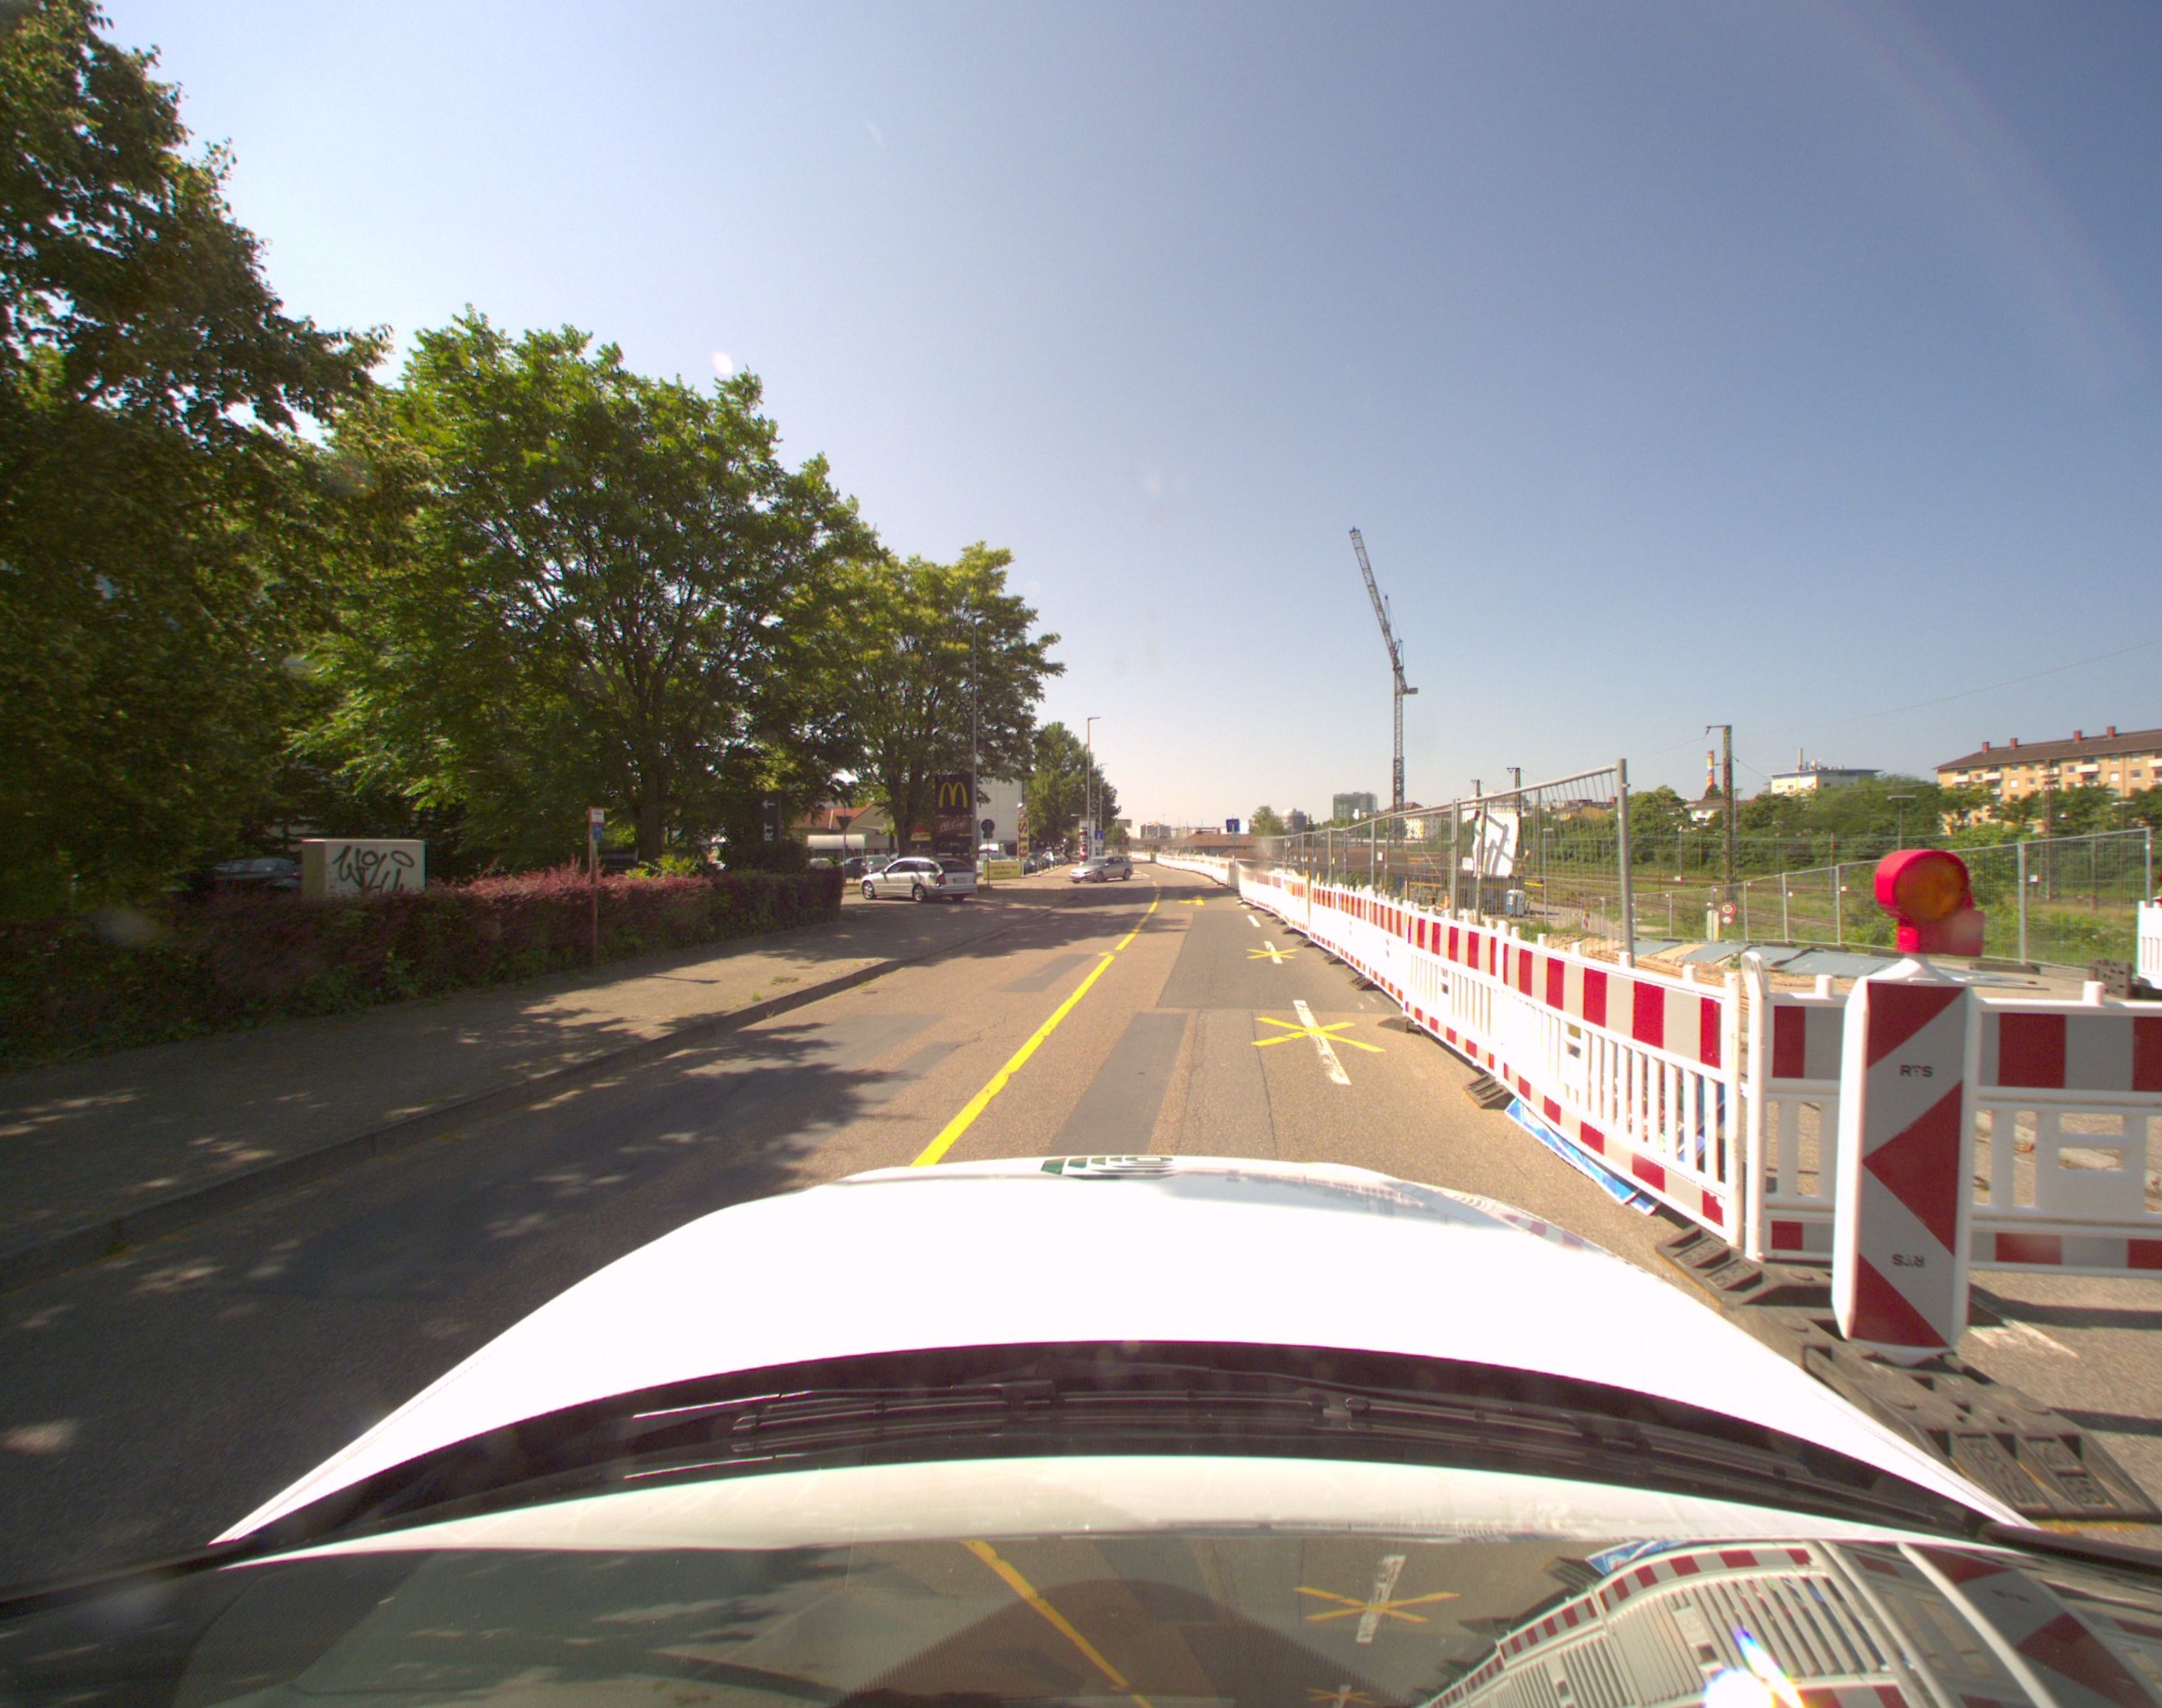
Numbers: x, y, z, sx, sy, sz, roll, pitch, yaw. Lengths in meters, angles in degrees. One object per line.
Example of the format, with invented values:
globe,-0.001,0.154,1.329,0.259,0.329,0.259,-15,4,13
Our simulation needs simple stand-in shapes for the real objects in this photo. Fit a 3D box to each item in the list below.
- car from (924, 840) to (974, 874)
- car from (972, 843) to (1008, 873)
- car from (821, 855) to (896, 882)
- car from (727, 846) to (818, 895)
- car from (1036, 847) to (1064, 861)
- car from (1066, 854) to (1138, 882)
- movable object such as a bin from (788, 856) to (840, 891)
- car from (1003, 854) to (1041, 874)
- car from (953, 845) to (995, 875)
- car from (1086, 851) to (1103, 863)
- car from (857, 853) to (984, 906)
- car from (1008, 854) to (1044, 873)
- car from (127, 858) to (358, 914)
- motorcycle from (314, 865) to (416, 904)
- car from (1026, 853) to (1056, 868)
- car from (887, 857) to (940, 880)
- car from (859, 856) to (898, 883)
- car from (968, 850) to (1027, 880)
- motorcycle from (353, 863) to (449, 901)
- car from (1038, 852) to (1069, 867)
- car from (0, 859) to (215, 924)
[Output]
car,-11.151,0.277,69.364,2.263,2.758,6.168,-1,-1,9
car,-8.083,0.390,72.978,2.237,2.430,5.723,2,-1,3
car,-16.523,1.043,60.486,4.914,1.842,2.139,-1,0,-36
car,-14.367,0.790,37.850,4.466,1.920,1.905,-4,0,40
car,-4.363,0.049,115.509,3.917,1.958,1.756,0,0,-6
car,1.278,0.794,47.010,1.661,1.493,4.635,-1,0,39
movable object such as a bin,-12.910,0.950,39.414,1.753,1.526,1.464,-3,2,27
car,-4.790,0.779,65.647,1.843,1.473,3.972,-3,0,-21
car,-8.661,0.501,66.556,2.234,2.350,4.832,-1,-1,6
car,1.787,0.364,103.758,1.860,1.498,4.037,-2,1,5
car,-5.253,0.761,26.337,4.331,1.403,1.725,2,2,41
car,-4.845,0.841,71.188,1.788,1.473,3.968,-4,0,-24
car,-21.981,0.819,21.488,4.073,1.387,1.768,0,0,-4
motorcycle,-21.079,0.887,24.016,2.183,1.116,0.566,1,0,-19
car,-4.160,0.683,84.465,1.676,1.473,3.965,-4,1,-26
car,-12.463,1.032,60.806,1.894,1.575,4.706,-1,0,15
car,-13.677,0.998,54.794,1.812,1.656,4.281,-2,0,-23
car,-5.707,0.771,55.156,1.989,1.707,4.615,-2,-2,-33
motorcycle,-20.766,0.847,24.905,2.183,1.131,0.566,1,0,-19
car,-2.985,0.613,87.863,1.786,1.473,3.966,-3,1,-26
car,-23.158,0.847,18.969,4.049,1.395,1.625,0,0,-4
